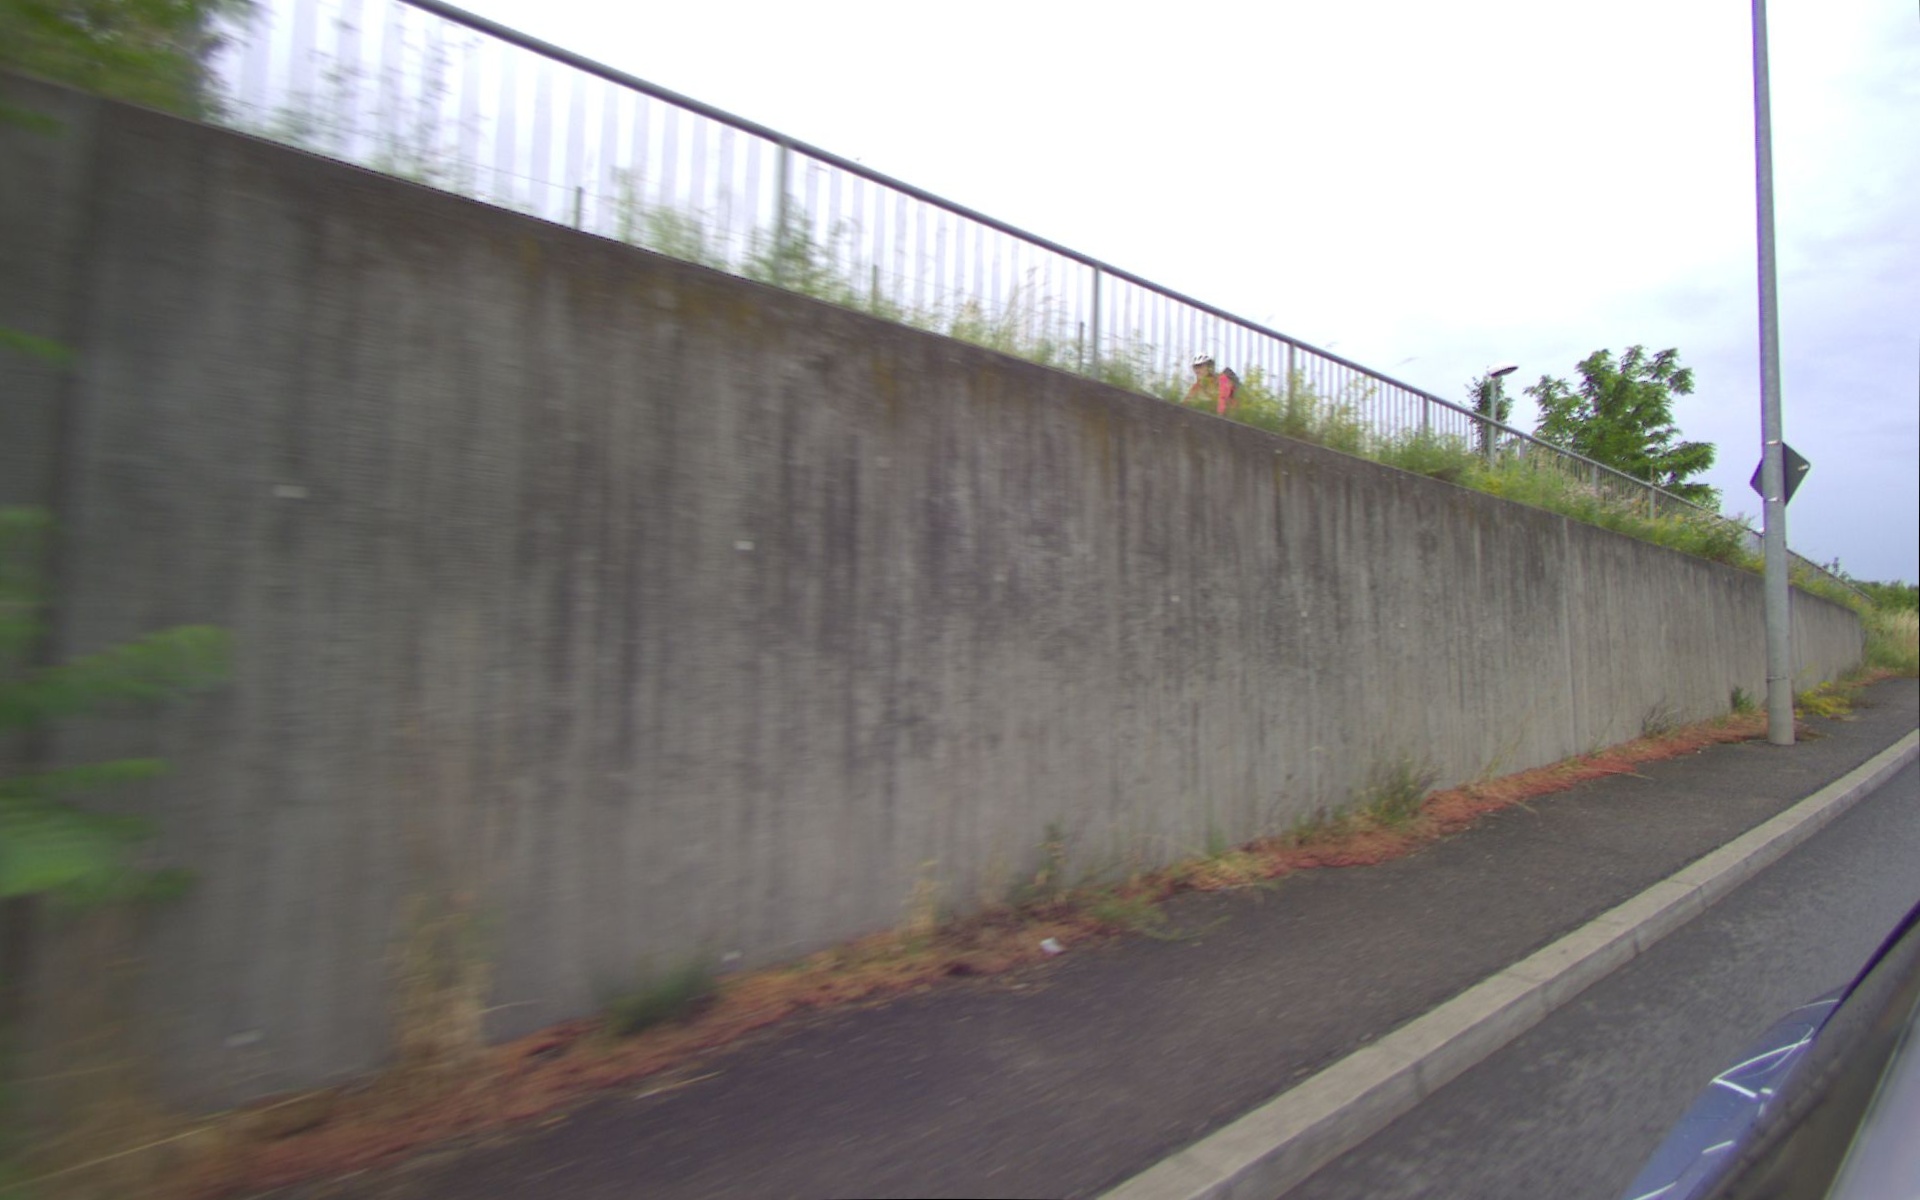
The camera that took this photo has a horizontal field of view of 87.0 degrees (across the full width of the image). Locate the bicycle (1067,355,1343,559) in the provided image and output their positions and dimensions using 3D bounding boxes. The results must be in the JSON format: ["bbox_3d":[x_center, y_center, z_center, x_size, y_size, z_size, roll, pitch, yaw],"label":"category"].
[{"bbox_3d":[2.491,-1.247,9.840,3.427,1.305,0.869,5,-7,-43],"label":"bicycle"}]

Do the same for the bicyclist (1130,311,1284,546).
[{"bbox_3d":[2.387,-1.579,9.776,1.272,1.934,0.869,5,-7,-43],"label":"bicyclist"}]
